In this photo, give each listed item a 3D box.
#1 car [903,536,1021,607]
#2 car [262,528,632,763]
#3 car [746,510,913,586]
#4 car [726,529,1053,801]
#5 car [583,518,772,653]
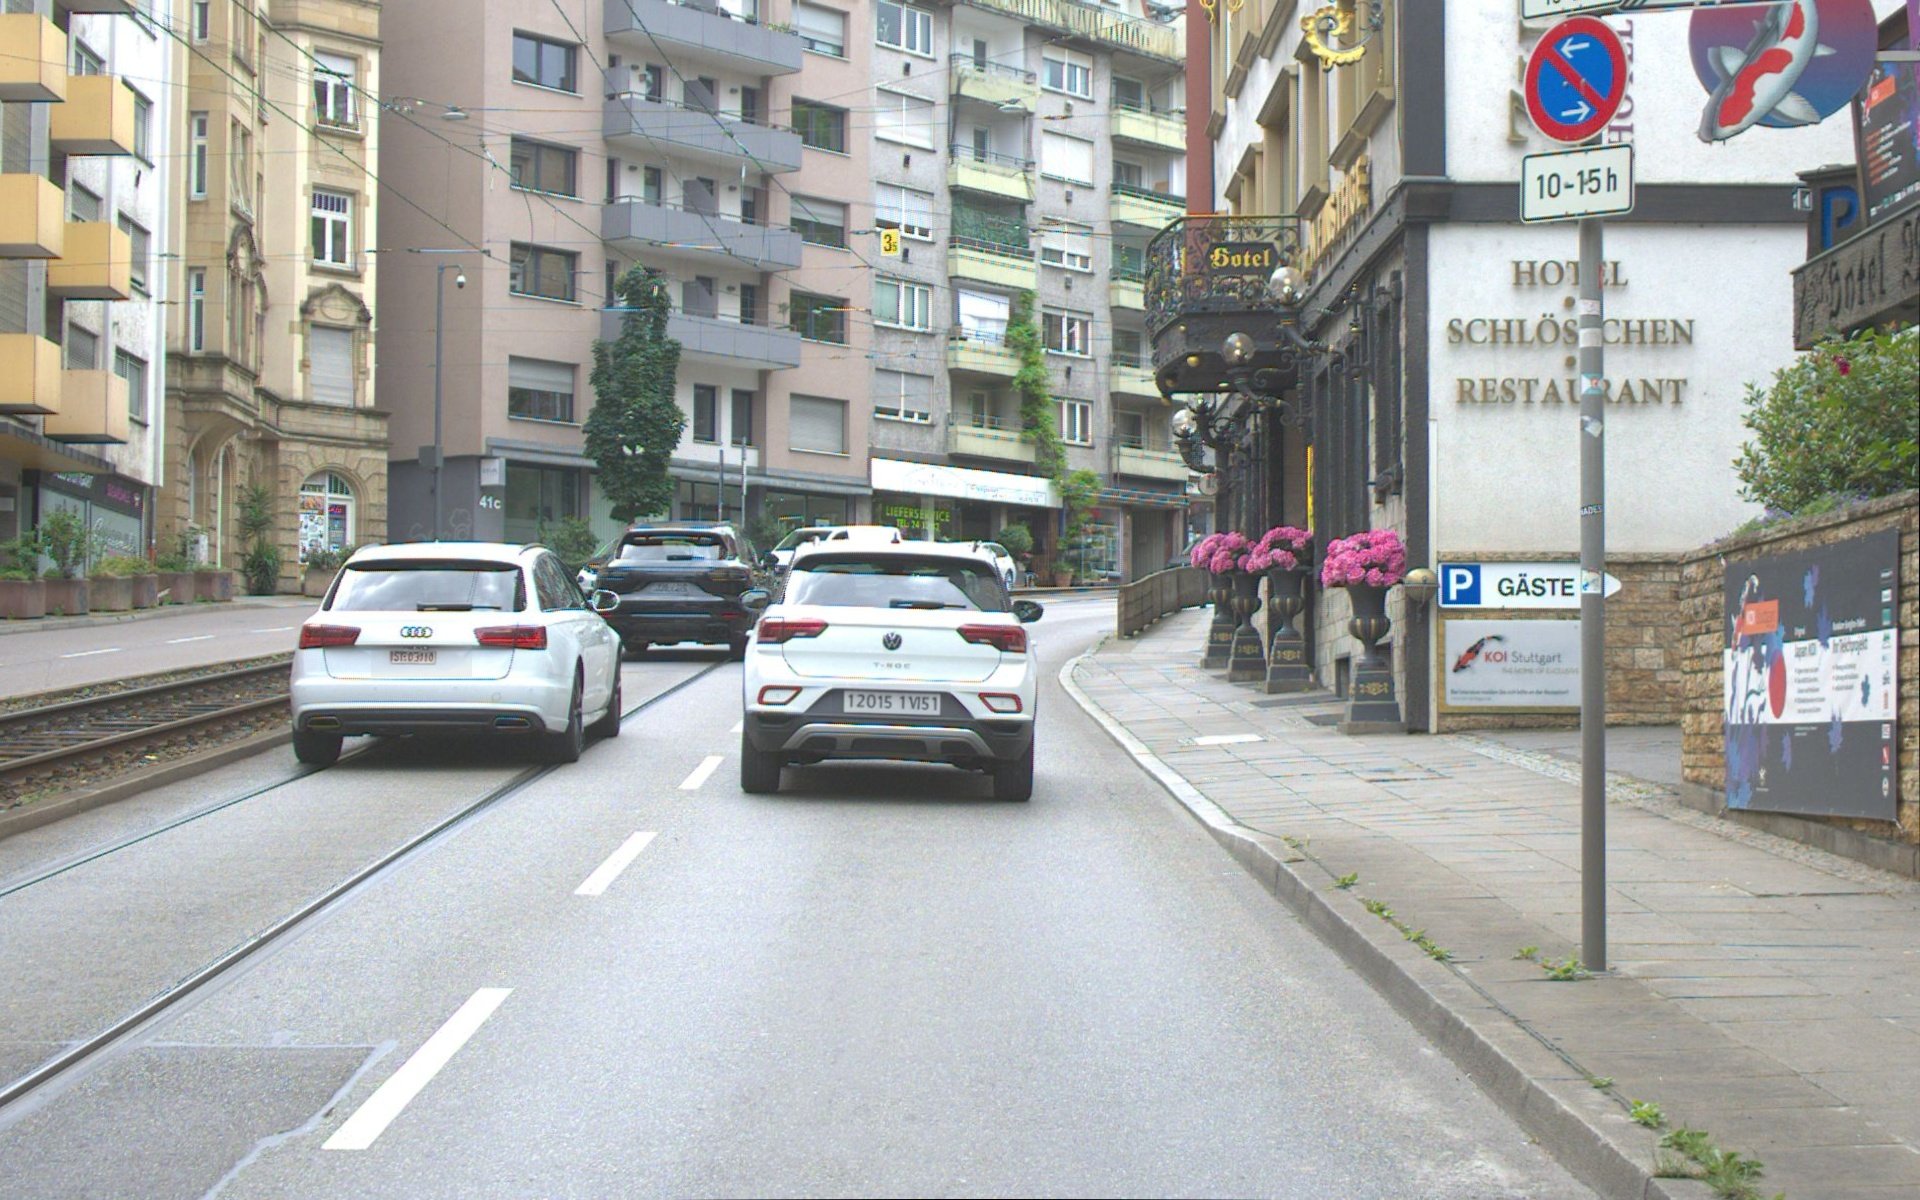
[{"bbox_3d":[0.089,-0.820,96.284,1.905,1.916,4.431,1,1,20],"label":"car"},{"bbox_3d":[-3.426,0.239,23.807,1.879,1.450,4.618,1,1,0],"label":"car"},{"bbox_3d":[-3.553,-1.434,94.483,1.998,2.028,4.691,1,1,38],"label":"car"},{"bbox_3d":[-0.414,0.335,21.889,1.879,1.549,4.000,1,1,0],"label":"car"},{"bbox_3d":[-3.426,-0.215,42.435,2.038,1.566,4.358,0,1,-1],"label":"car"}]
